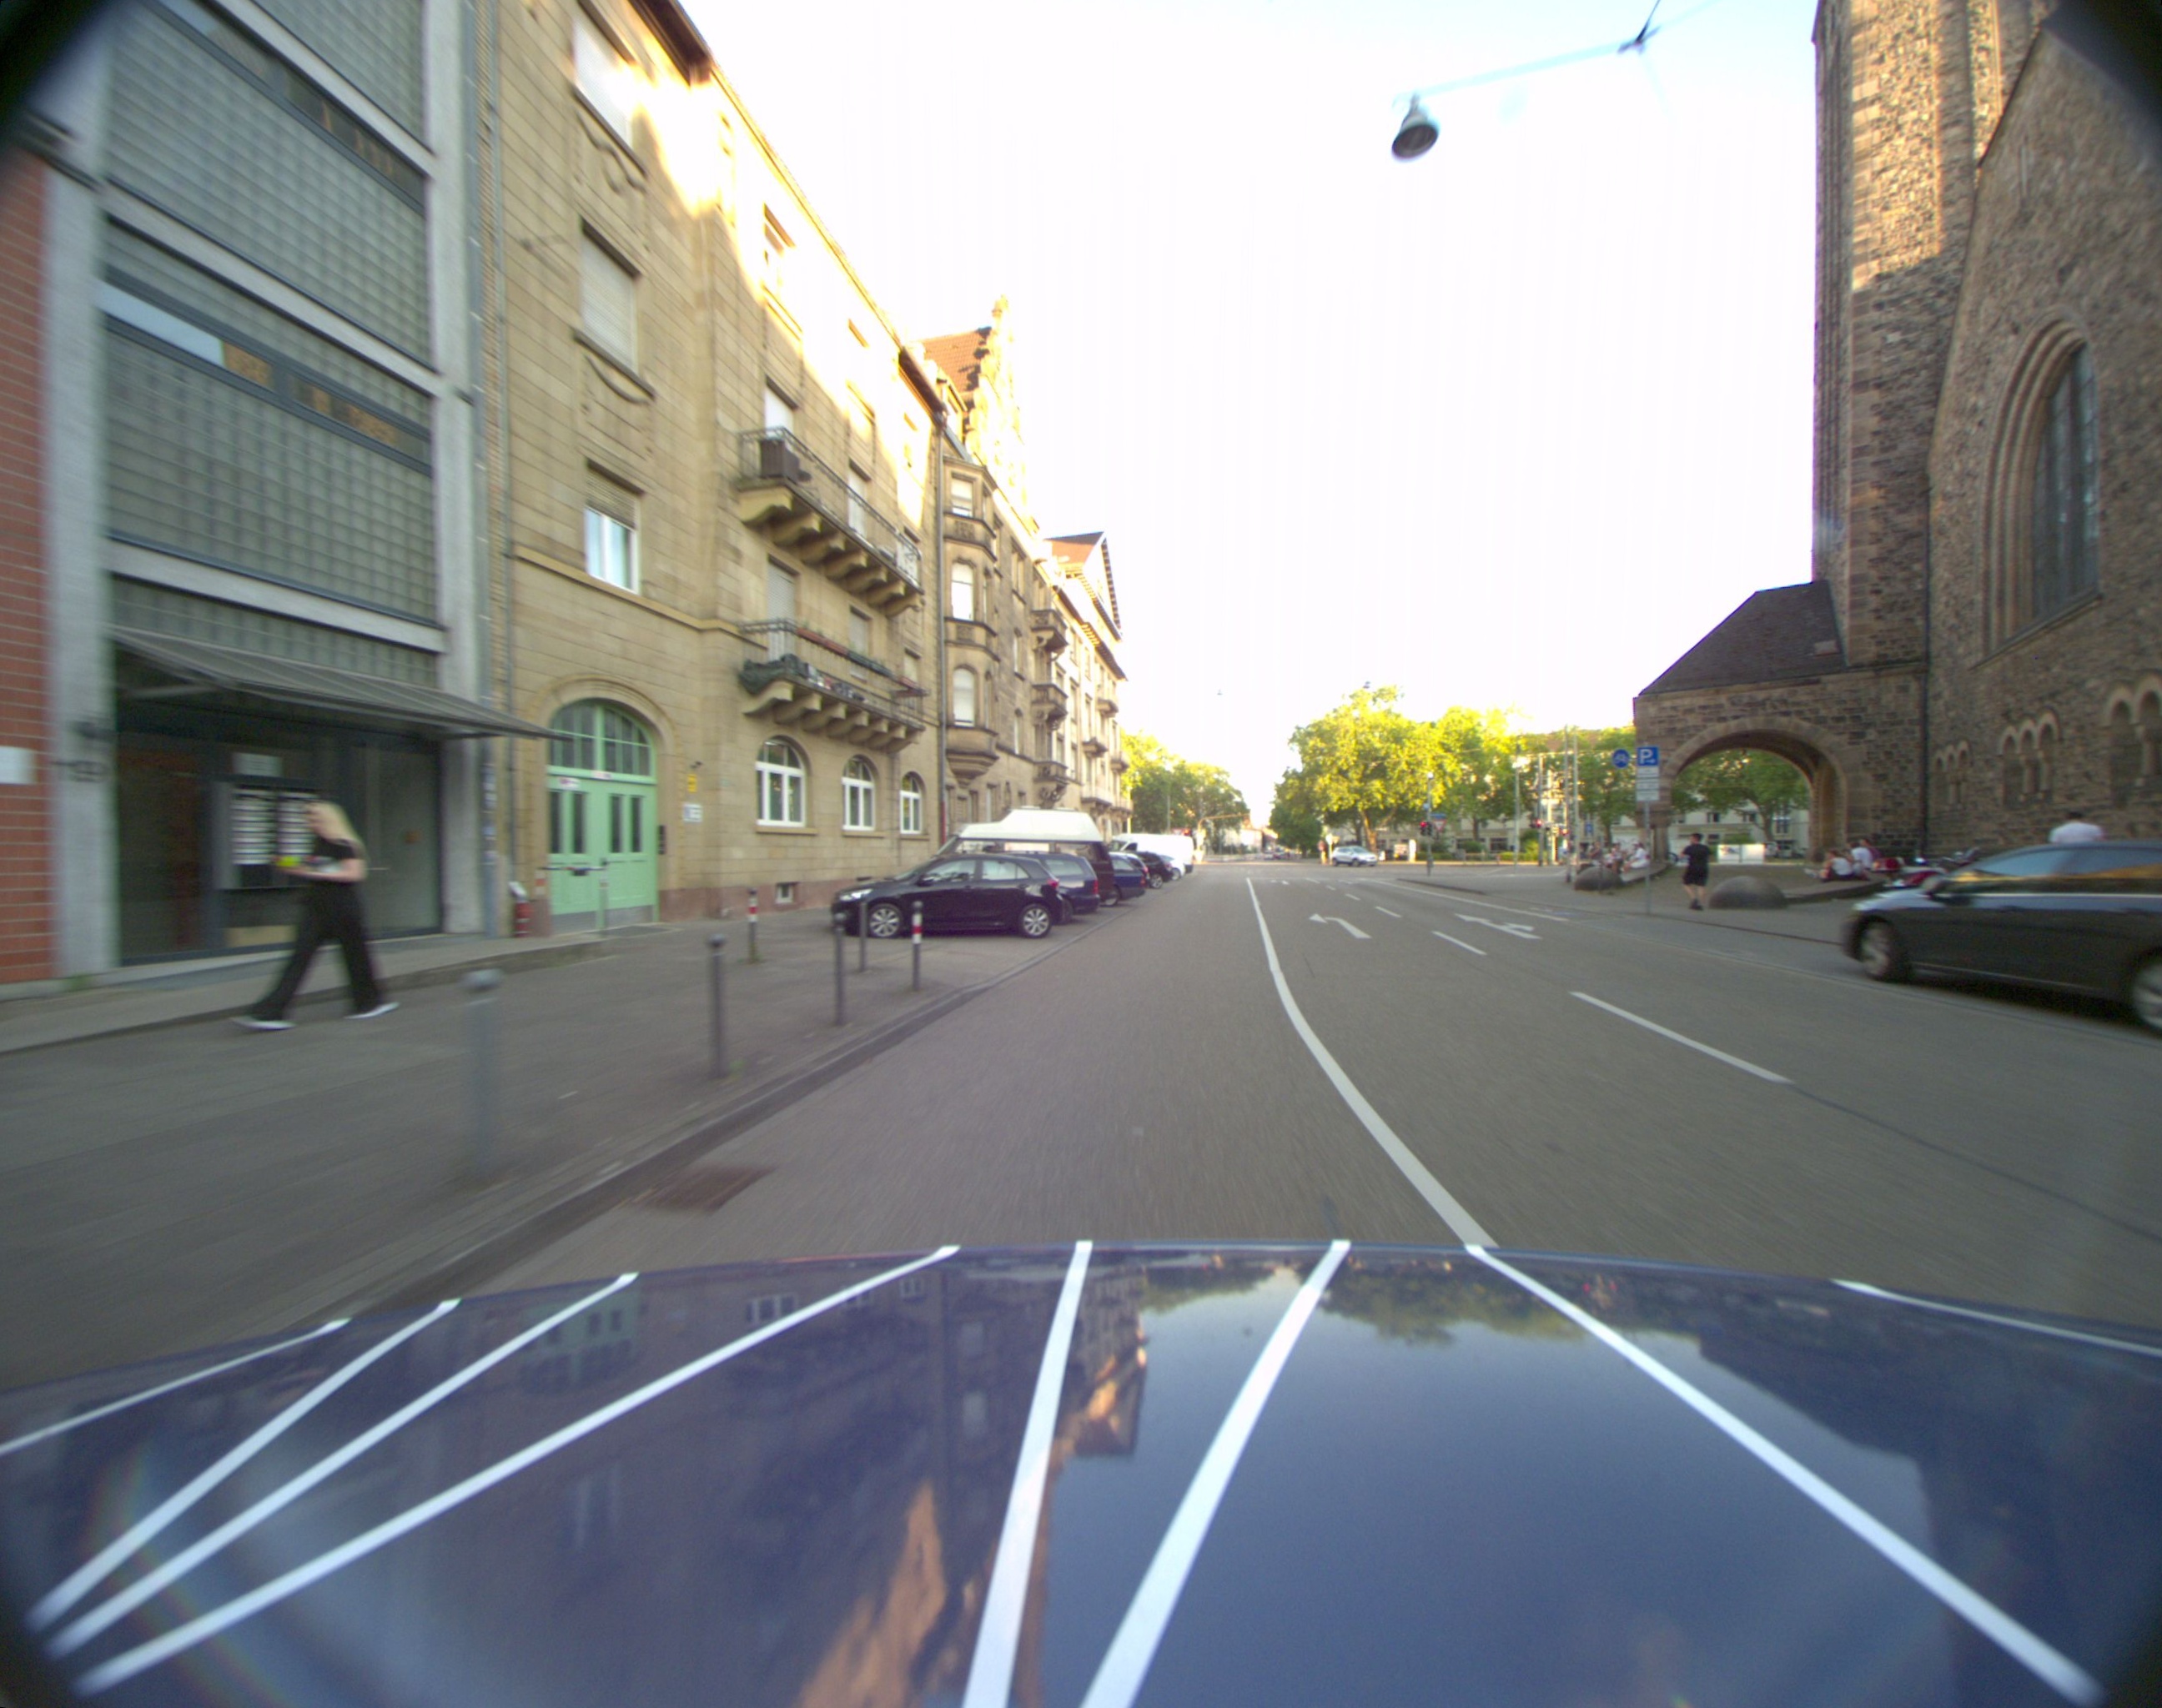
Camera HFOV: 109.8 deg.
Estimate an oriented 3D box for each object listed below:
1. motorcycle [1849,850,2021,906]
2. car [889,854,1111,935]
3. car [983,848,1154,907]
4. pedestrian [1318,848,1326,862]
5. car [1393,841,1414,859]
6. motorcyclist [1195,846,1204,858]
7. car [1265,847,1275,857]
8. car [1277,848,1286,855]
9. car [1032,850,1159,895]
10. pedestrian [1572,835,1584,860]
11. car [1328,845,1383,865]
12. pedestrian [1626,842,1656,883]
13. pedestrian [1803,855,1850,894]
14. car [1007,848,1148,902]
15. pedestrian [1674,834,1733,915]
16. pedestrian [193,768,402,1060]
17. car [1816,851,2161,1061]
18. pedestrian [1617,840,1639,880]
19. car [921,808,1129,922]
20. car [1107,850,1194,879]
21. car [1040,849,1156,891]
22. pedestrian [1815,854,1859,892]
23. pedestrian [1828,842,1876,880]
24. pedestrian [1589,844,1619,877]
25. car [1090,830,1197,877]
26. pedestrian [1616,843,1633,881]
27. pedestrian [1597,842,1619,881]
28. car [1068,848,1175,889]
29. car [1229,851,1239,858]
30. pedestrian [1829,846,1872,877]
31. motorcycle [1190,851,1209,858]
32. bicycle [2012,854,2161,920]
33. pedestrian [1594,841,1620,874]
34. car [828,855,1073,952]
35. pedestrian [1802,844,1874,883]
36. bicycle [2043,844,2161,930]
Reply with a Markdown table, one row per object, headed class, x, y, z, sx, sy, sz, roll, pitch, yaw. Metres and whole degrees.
| class | x | y | z | sx | sy | sz | roll | pitch | yaw |
| --- | --- | --- | --- | --- | --- | --- | --- | --- | --- |
| motorcycle | 18.607 | 0.515 | 16.633 | 2.418 | 1.119 | 0.823 | -2 | 0 | 16 |
| car | -1.743 | 0.773 | 15.954 | 4.359 | 1.494 | 1.910 | -1 | 1 | -16 |
| car | -0.376 | 0.655 | 21.238 | 4.403 | 1.478 | 1.840 | 2 | 1 | -18 |
| pedestrian | 27.936 | 0.118 | 88.205 | 0.745 | 1.619 | 0.661 | 0 | 1 | 29 |
| car | 35.863 | -0.432 | 84.376 | 1.864 | 2.002 | 3.817 | 0 | 1 | 27 |
| motorcyclist | 14.948 | -0.265 | 95.815 | 0.830 | 1.511 | 0.622 | -1 | 1 | -13 |
| car | 40.299 | -0.463 | 162.317 | 1.989 | 1.945 | 4.601 | 0 | 0 | 15 |
| car | 43.135 | -0.567 | 163.211 | 1.825 | 1.565 | 4.005 | -1 | 0 | 16 |
| car | 0.488 | 0.641 | 26.846 | 4.040 | 1.423 | 1.864 | 2 | 1 | -22 |
| pedestrian | 37.043 | -0.448 | 56.628 | 0.709 | 1.836 | 1.162 | 0 | 1 | 32 |
| car | 22.059 | 0.098 | 61.171 | 1.844 | 1.549 | 3.991 | -1 | 0 | -25 |
| pedestrian | 19.370 | 0.285 | 26.284 | 0.633 | 1.398 | 0.702 | -1 | 1 | -43 |
| pedestrian | 19.330 | 0.529 | 19.697 | 0.562 | 0.986 | 0.695 | -1 | 1 | -21 |
| car | -0.145 | 0.625 | 23.980 | 4.124 | 1.537 | 1.792 | 0 | 3 | -16 |
| pedestrian | 13.575 | 0.441 | 16.576 | 0.715 | 1.715 | 0.692 | 0 | 1 | 2 |
| pedestrian | -5.903 | 0.413 | 5.767 | 0.608 | 2.002 | 0.858 | 5 | 2 | 13 |
| car | 8.704 | 0.713 | 6.302 | 1.786 | 1.427 | 4.320 | 0 | 1 | 13 |
| pedestrian | 19.379 | 0.191 | 26.909 | 0.459 | 1.398 | 0.546 | -1 | 1 | -43 |
| car | -1.388 | 0.192 | 18.449 | 4.729 | 2.532 | 1.915 | -1 | 2 | -17 |
| car | 3.773 | 0.558 | 41.103 | 4.261 | 1.445 | 1.995 | 0 | 1 | -26 |
| car | 0.651 | 0.633 | 29.331 | 4.063 | 1.490 | 1.750 | 1 | 1 | -23 |
| pedestrian | 19.872 | 0.482 | 19.971 | 0.562 | 0.962 | 0.648 | -1 | 1 | -21 |
| pedestrian | 22.626 | 0.202 | 22.304 | 0.648 | 1.069 | 0.828 | -1 | 1 | -28 |
| pedestrian | 22.090 | 0.280 | 32.127 | 0.700 | 1.367 | 0.802 | -1 | 1 | -27 |
| car | 3.638 | -0.054 | 43.904 | 5.894 | 2.537 | 2.190 | 0 | 3 | -29 |
| pedestrian | 19.864 | 0.287 | 27.770 | 0.549 | 1.398 | 0.401 | -1 | 1 | -43 |
| pedestrian | 19.467 | 0.271 | 28.064 | 0.559 | 1.445 | 0.549 | -1 | 1 | -43 |
| car | 1.719 | 0.599 | 32.137 | 4.105 | 1.598 | 1.812 | 1 | 1 | -26 |
| car | 34.294 | 0.110 | 170.210 | 1.792 | 1.571 | 4.004 | 0 | 0 | 15 |
| pedestrian | 23.112 | 0.224 | 22.821 | 0.648 | 0.910 | 0.738 | -1 | 1 | -28 |
| motorcycle | 14.896 | 0.045 | 95.850 | 2.286 | 0.917 | 0.622 | -1 | 1 | -13 |
| bicycle | 15.927 | 0.501 | 11.767 | 1.879 | 0.983 | 0.442 | 0 | 1 | 27 |
| pedestrian | 22.669 | 0.144 | 32.721 | 0.701 | 1.367 | 0.801 | -1 | 1 | -44 |
| car | -2.346 | 0.795 | 13.549 | 4.073 | 1.483 | 1.721 | -1 | 1 | -19 |
| pedestrian | 21.963 | 0.258 | 22.069 | 0.686 | 1.088 | 1.330 | -1 | 1 | -28 |
| bicycle | 15.648 | 0.479 | 11.235 | 1.729 | 1.241 | 0.438 | 0 | 1 | 26 |
